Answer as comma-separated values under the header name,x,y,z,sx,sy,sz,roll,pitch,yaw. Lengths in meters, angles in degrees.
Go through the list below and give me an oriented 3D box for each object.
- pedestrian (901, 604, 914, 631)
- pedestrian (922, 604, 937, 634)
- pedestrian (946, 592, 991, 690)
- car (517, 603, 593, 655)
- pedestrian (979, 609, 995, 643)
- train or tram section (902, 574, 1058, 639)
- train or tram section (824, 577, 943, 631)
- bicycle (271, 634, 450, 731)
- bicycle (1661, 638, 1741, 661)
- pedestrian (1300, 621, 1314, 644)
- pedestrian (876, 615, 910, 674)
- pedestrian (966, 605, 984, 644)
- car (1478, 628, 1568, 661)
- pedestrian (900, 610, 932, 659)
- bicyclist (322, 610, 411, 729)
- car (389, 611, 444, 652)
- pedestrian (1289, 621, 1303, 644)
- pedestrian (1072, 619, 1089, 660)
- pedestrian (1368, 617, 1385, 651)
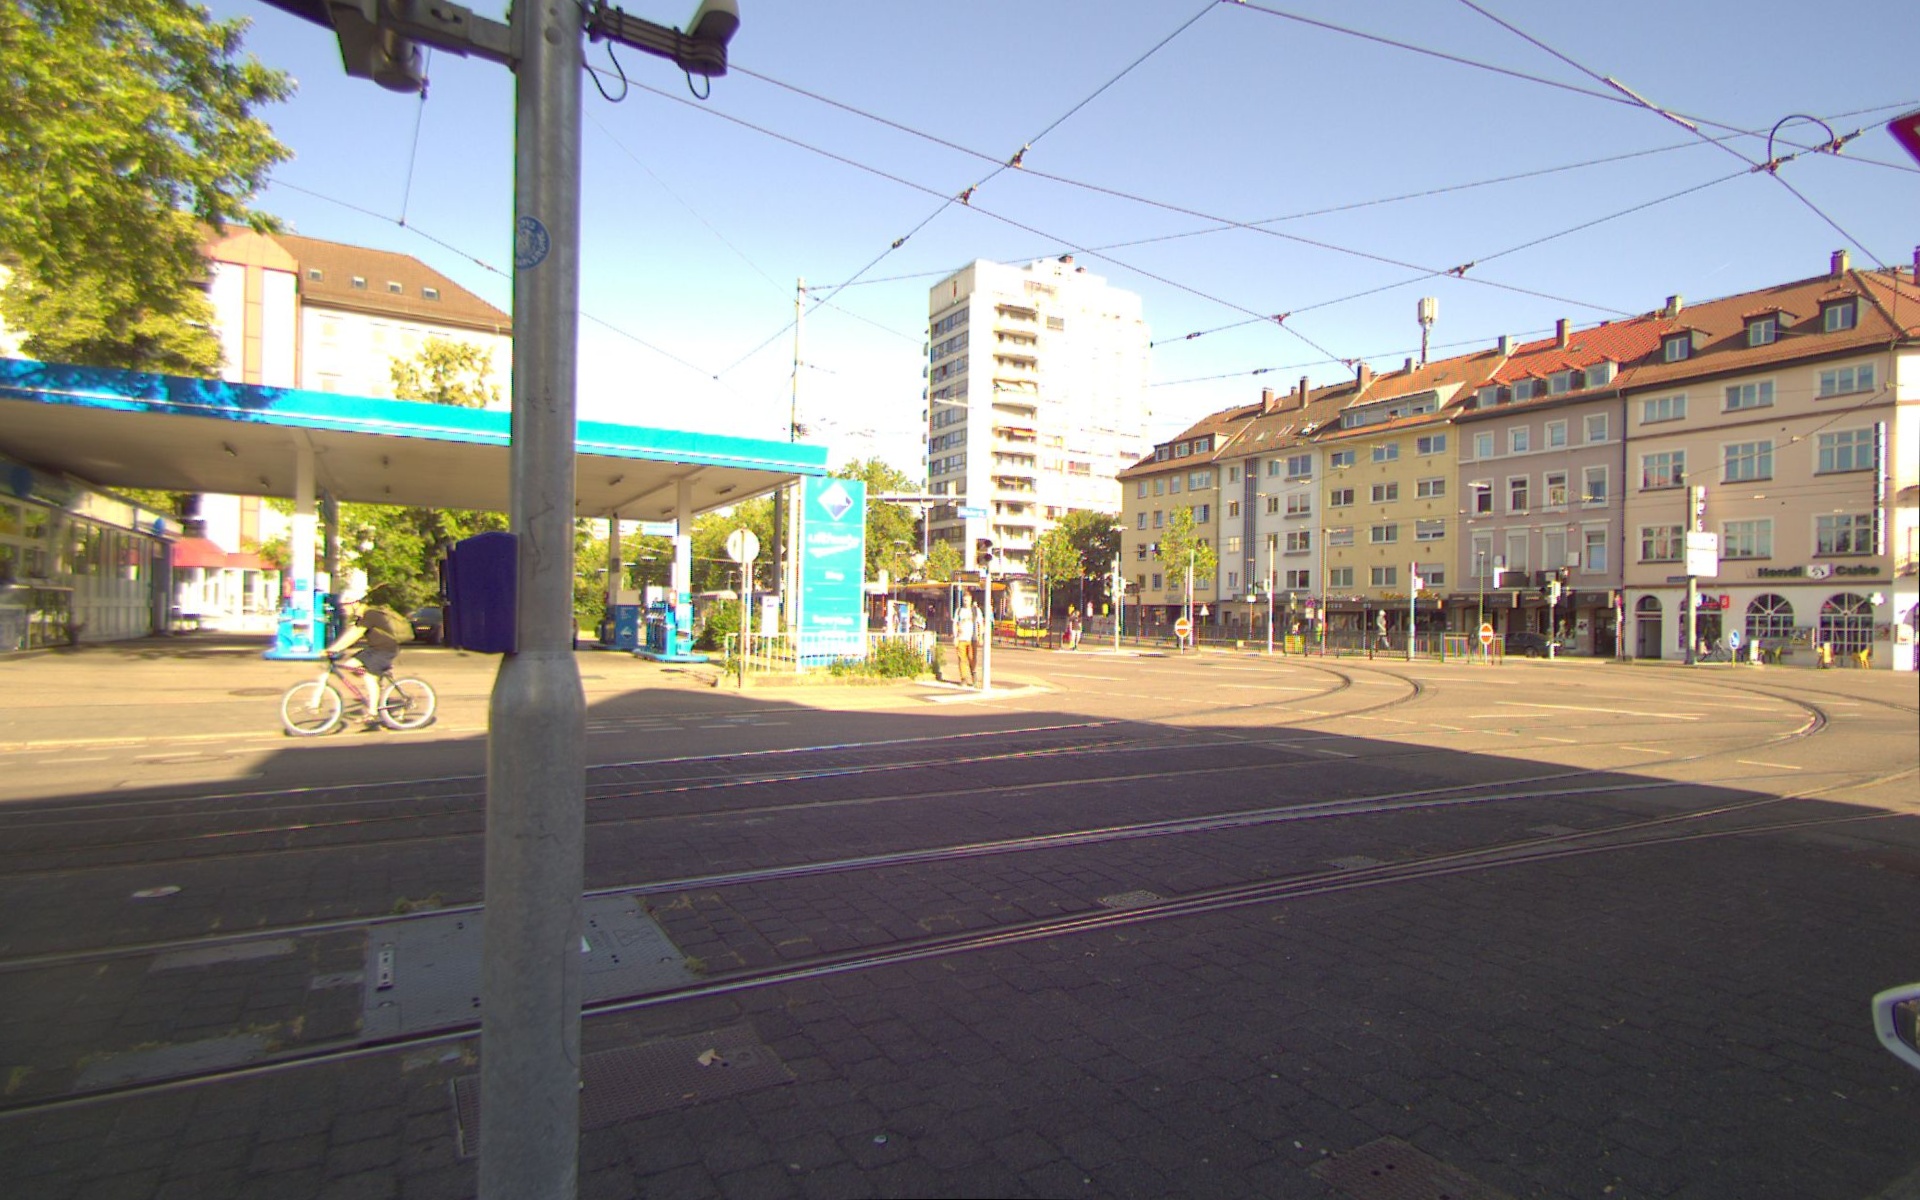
name,x,y,z,sx,sy,sz,roll,pitch,yaw
pedestrian,-3.095,1.031,59.361,0.580,1.613,0.520,2,0,-31
pedestrian,-1.707,1.058,56.236,0.580,1.613,0.520,2,0,-31
pedestrian,0.182,0.806,19.963,0.778,1.893,0.674,2,0,6
car,-12.163,0.841,30.051,1.764,1.411,3.455,2,0,-28
pedestrian,1.320,1.275,49.472,0.580,1.613,0.520,2,0,-31
train or tram section,0.802,0.280,57.363,2.751,3.273,12.286,2,0,-31
train or tram section,-5.449,0.194,67.837,2.751,3.273,12.286,2,0,-31
bicycle,-7.317,0.974,12.326,0.567,1.084,1.784,2,0,43
bicycle,37.510,2.487,50.901,0.989,0.993,3.115,2,0,-29
pedestrian,25.055,2.345,72.519,0.693,1.656,0.629,2,0,-33
pedestrian,-1.940,1.284,29.014,0.675,1.656,0.694,2,0,-35
pedestrian,0.748,1.235,50.623,0.666,1.913,0.520,2,0,-31
car,30.864,2.413,55.145,1.970,1.692,3.981,1,-1,-21
pedestrian,-1.483,1.148,33.876,0.693,1.608,0.820,0,-1,34
bicyclist,-7.271,0.830,12.317,0.552,1.384,0.798,2,0,43
car,-19.676,1.108,36.294,1.646,1.316,3.453,2,0,-30
pedestrian,24.023,2.311,71.886,0.693,1.656,0.629,2,0,-33
pedestrian,5.075,1.668,42.242,0.575,1.686,0.525,2,0,15
pedestrian,20.408,1.650,49.219,0.570,1.649,0.522,2,0,-31
